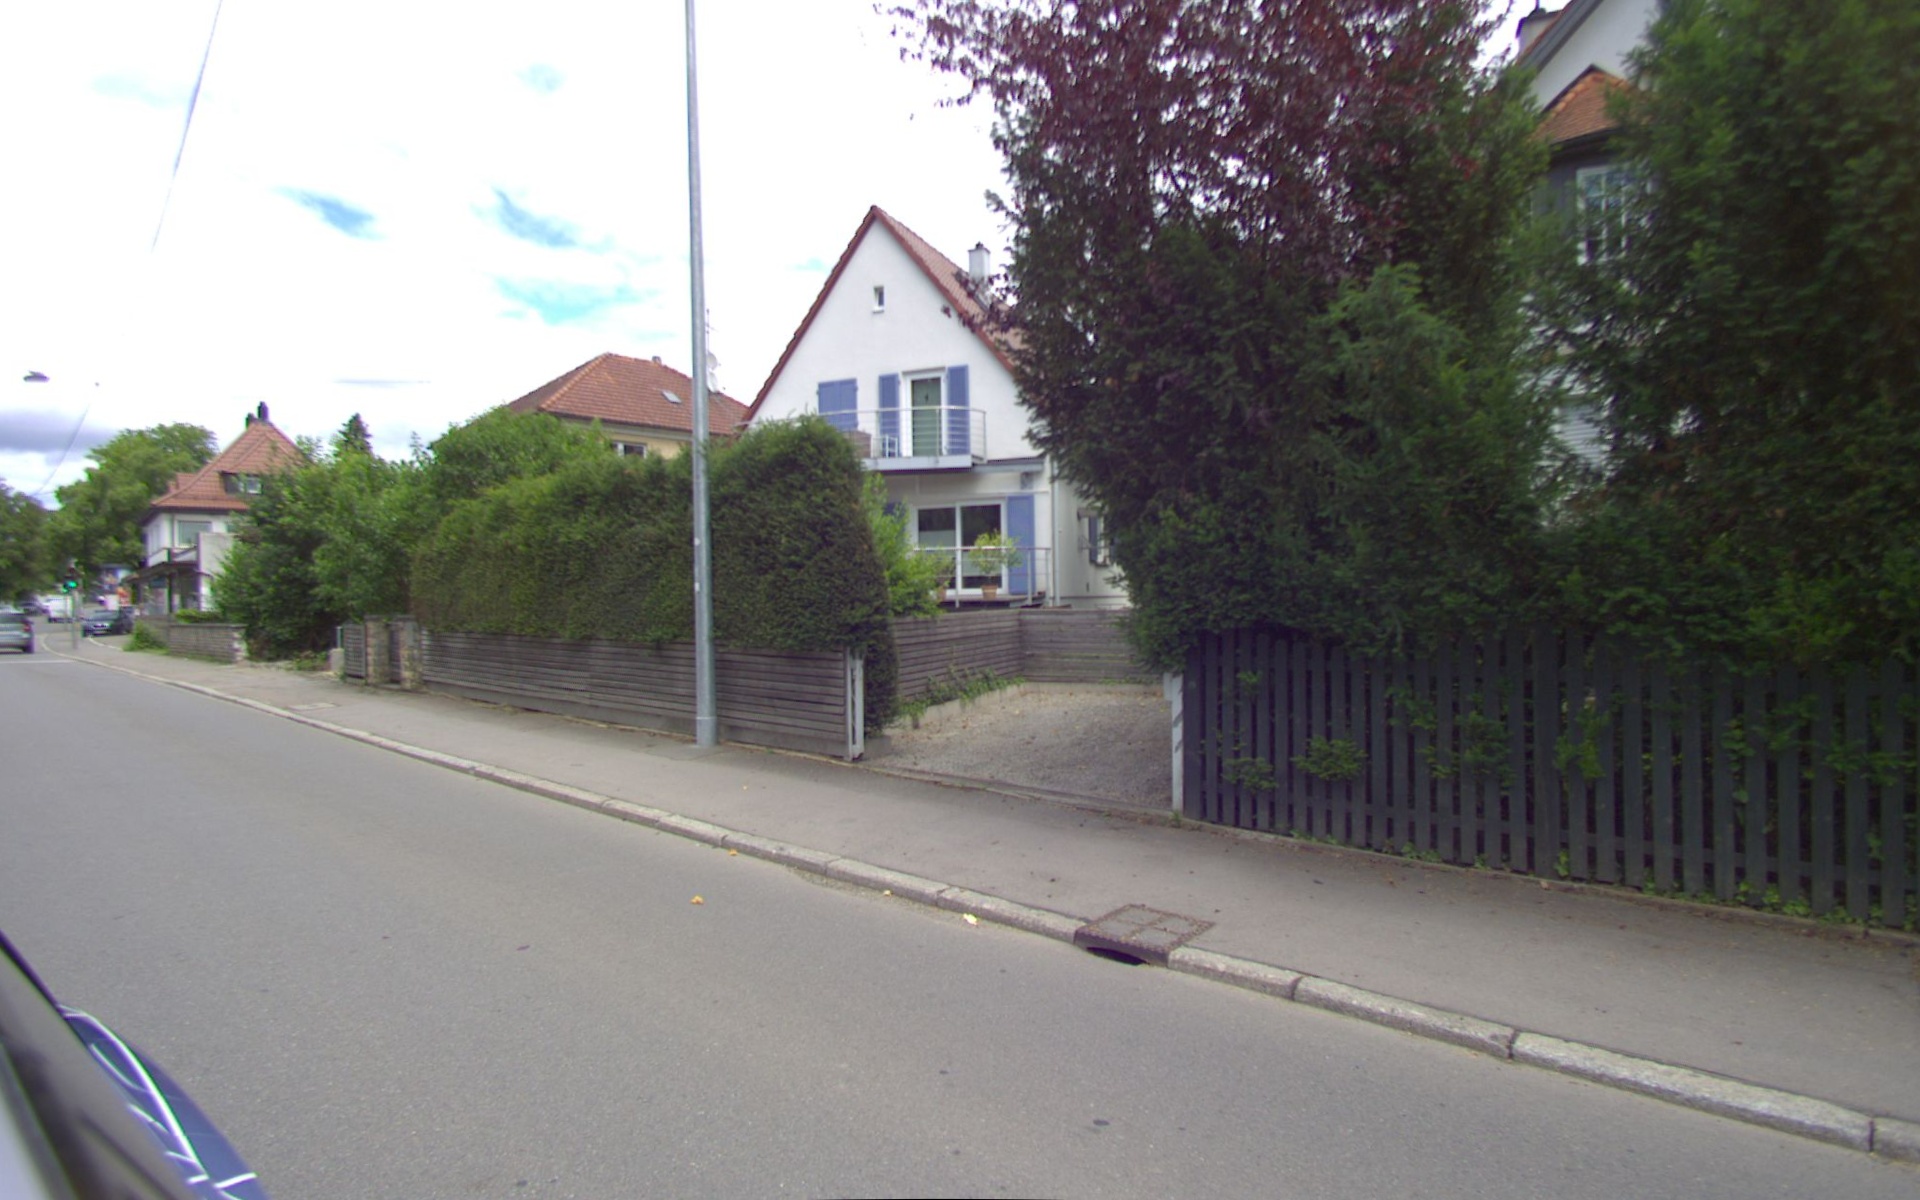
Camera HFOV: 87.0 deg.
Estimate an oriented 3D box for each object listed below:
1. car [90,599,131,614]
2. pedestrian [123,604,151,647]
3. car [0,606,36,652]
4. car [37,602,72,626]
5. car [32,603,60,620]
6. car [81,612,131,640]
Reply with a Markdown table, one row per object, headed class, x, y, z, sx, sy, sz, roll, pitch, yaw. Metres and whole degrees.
| class | x | y | z | sx | sy | sz | roll | pitch | yaw |
| --- | --- | --- | --- | --- | --- | --- | --- | --- | --- |
| car | -112.764 | 0.860 | 134.381 | 3.933 | 1.752 | 2.006 | -3 | 2 | -33 |
| pedestrian | -35.222 | 1.081 | 43.336 | 0.810 | 1.757 | 0.605 | -3 | 2 | -45 |
| car | -36.196 | 1.060 | 37.961 | 4.138 | 1.668 | 1.820 | 0 | -3 | 42 |
| car | -78.808 | 1.186 | 88.077 | 4.835 | 1.930 | 1.859 | 0 | 3 | 44 |
| car | -99.709 | 1.197 | 110.409 | 4.002 | 1.709 | 1.971 | 0 | 2 | 44 |
| car | -48.308 | 1.453 | 57.326 | 1.794 | 1.361 | 3.400 | -3 | 2 | -35 |
